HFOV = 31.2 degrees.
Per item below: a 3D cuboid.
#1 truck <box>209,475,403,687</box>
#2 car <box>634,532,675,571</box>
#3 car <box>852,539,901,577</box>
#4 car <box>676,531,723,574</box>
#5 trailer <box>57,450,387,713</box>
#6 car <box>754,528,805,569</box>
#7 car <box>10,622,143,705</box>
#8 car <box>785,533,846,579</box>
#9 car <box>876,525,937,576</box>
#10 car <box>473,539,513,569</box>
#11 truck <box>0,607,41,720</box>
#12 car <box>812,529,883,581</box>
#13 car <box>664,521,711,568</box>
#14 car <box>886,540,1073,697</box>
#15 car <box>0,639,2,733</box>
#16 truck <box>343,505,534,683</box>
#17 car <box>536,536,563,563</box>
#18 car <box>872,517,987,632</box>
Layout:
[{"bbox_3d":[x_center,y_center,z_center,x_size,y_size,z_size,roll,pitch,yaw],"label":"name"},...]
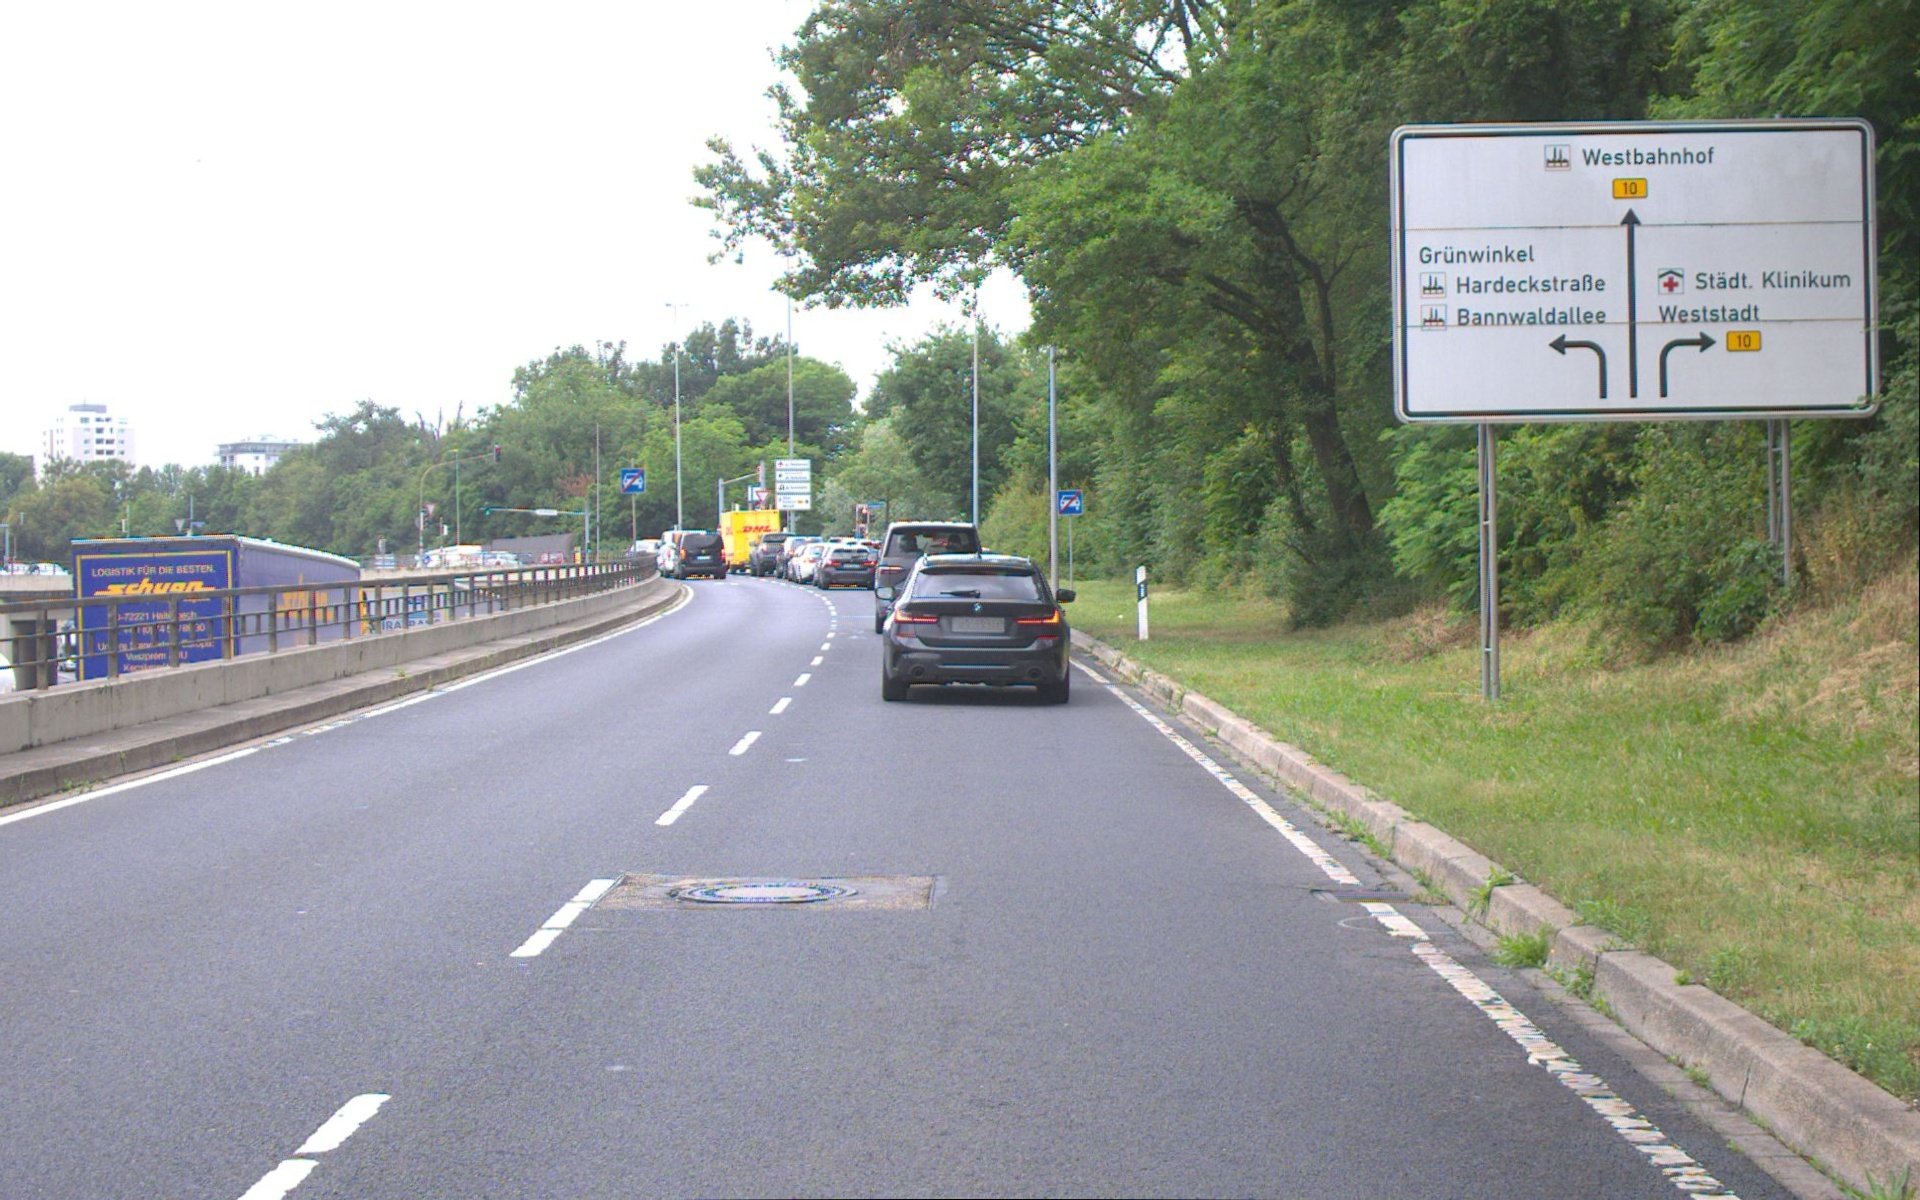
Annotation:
[{"bbox_3d":[-13.056,-0.383,69.135,2.850,4.023,6.097,-1,0,-2],"label":"truck"},{"bbox_3d":[-13.838,-2.187,155.556,1.623,1.696,4.297,1,0,-8],"label":"car"},{"bbox_3d":[-3.472,-1.724,141.667,1.884,1.540,4.000,1,0,-3],"label":"car"},{"bbox_3d":[-10.660,-1.940,140.443,1.623,1.696,4.297,1,0,-8],"label":"car"},{"bbox_3d":[-12.754,-0.333,61.221,2.851,4.023,16.006,-1,0,-2],"label":"trailer"},{"bbox_3d":[-7.646,-2.157,145.465,1.884,1.694,4.430,1,0,-6],"label":"car"},{"bbox_3d":[-17.475,1.233,68.114,1.623,1.523,3.897,1,0,0],"label":"car"},{"bbox_3d":[-5.203,-1.581,123.375,1.884,1.587,4.430,1,0,-6],"label":"car"},{"bbox_3d":[-2.062,-1.886,130.929,1.884,1.873,4.430,1,0,-6],"label":"car"},{"bbox_3d":[-27.581,-2.707,202.972,1.624,1.696,4.296,1,0,2],"label":"car"},{"bbox_3d":[-30.142,1.950,103.155,2.524,3.340,11.051,-1,0,-2],"label":"truck"},{"bbox_3d":[-3.585,-1.426,108.802,1.884,1.587,4.430,1,0,-6],"label":"car"},{"bbox_3d":[-11.769,-2.391,148.447,1.884,1.980,4.430,1,0,-6],"label":"car"},{"bbox_3d":[0.166,0.136,34.495,1.748,1.421,4.462,0,2,0],"label":"car"},{"bbox_3d":[-16.318,1.391,53.680,1.623,1.523,3.897,1,0,0],"label":"car"},{"bbox_3d":[-12.911,-0.190,86.492,2.850,4.023,15.579,-1,0,-2],"label":"truck"},{"bbox_3d":[-26.283,-3.219,220.292,1.623,1.696,4.297,1,0,-8],"label":"car"},{"bbox_3d":[-0.513,-0.440,59.395,1.899,1.878,4.415,1,0,0],"label":"car"}]
